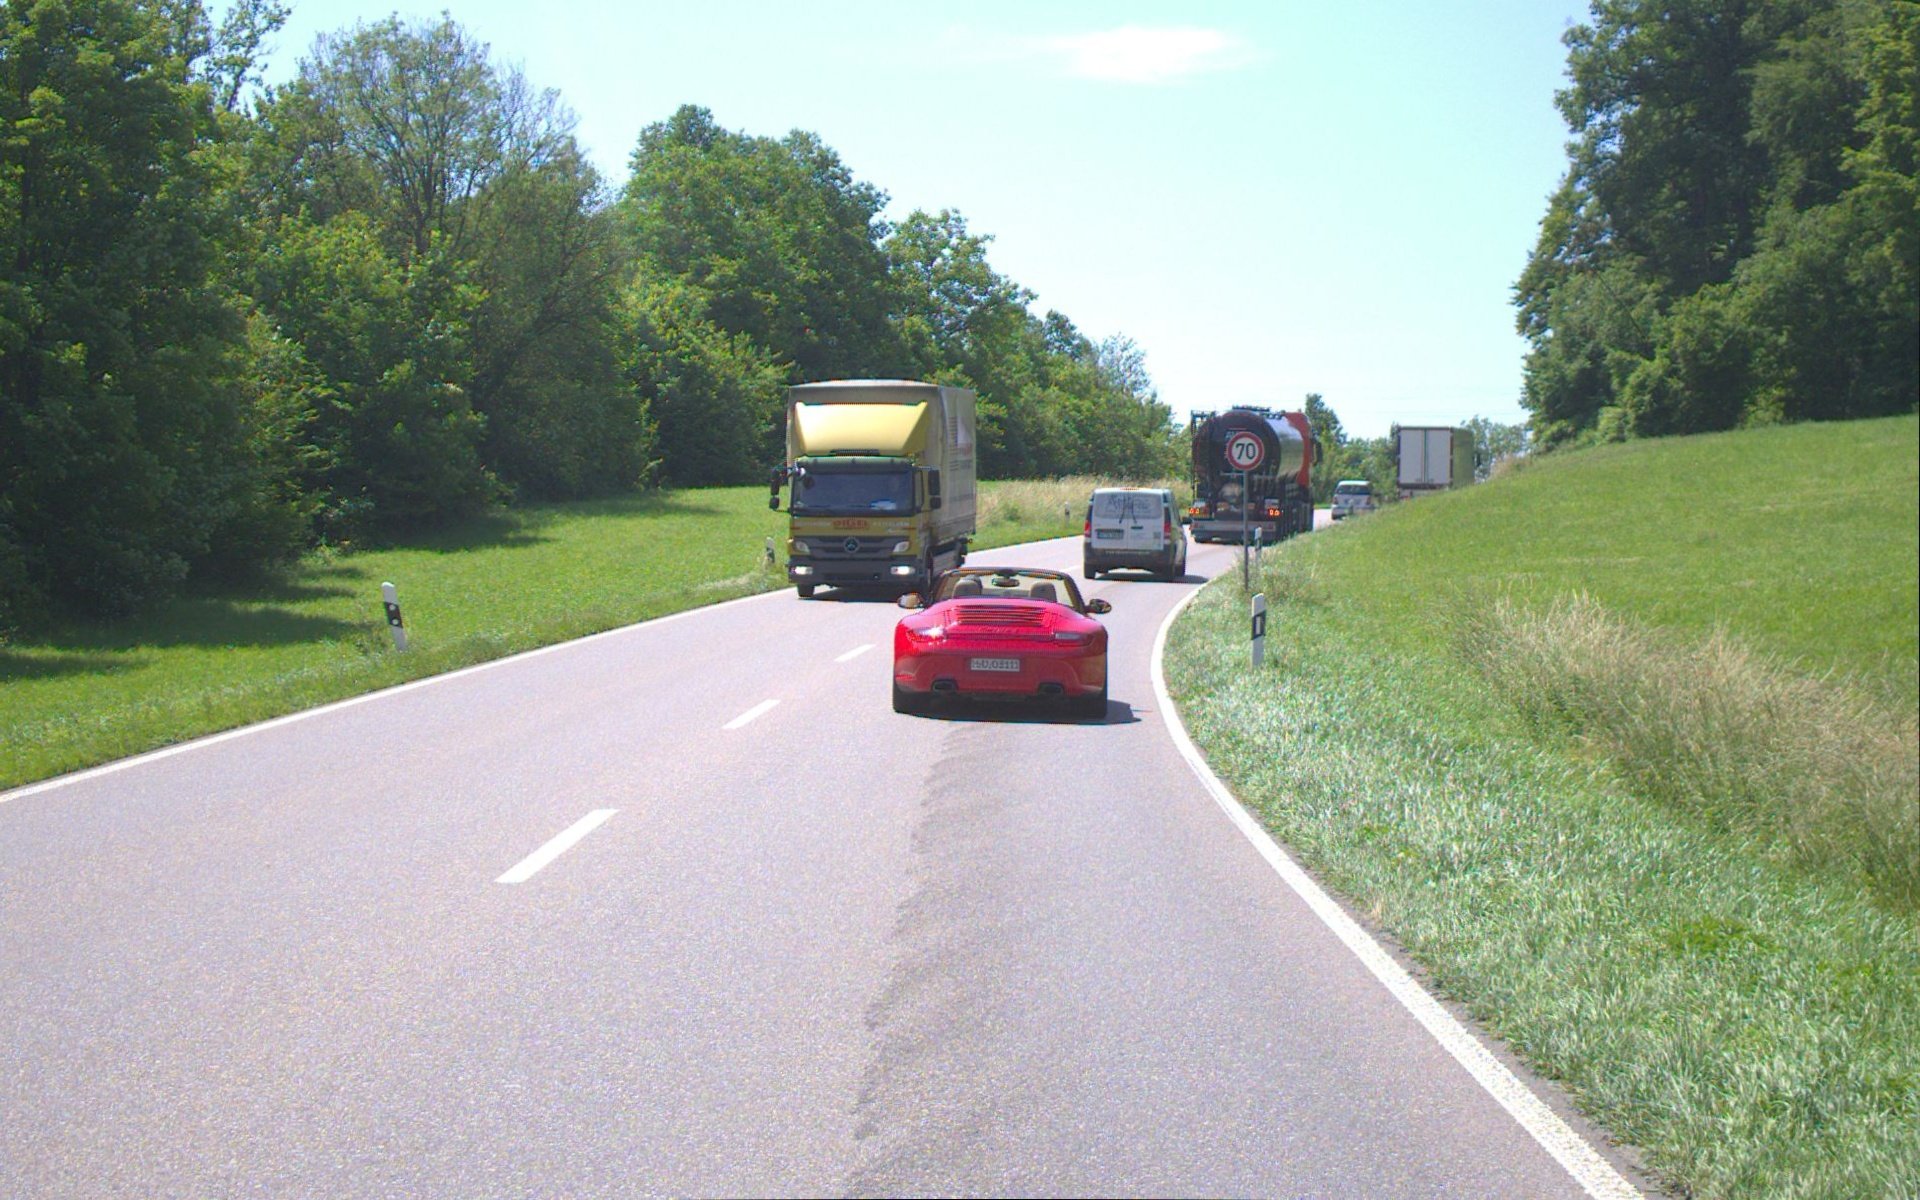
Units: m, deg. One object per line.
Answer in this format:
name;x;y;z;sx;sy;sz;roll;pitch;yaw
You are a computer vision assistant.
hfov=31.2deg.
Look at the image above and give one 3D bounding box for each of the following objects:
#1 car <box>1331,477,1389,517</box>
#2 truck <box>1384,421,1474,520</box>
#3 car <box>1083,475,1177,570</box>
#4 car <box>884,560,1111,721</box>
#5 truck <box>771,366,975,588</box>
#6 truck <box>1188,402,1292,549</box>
car;15.812;-4.078;135.764;1.832;1.508;4.188;0;2;13
truck;22.942;-6.323;167.745;3.727;4.644;12.026;0;2;11
car;3.595;-1.655;72.275;1.679;1.894;4.009;1;3;7
car;0.311;0.316;30.646;1.882;1.250;4.010;1;2;0
truck;-1.441;-2.155;61.789;2.731;3.678;8.545;1;1;5
truck;8.441;-3.710;102.473;2.404;4.035;12.548;-1;2;7
